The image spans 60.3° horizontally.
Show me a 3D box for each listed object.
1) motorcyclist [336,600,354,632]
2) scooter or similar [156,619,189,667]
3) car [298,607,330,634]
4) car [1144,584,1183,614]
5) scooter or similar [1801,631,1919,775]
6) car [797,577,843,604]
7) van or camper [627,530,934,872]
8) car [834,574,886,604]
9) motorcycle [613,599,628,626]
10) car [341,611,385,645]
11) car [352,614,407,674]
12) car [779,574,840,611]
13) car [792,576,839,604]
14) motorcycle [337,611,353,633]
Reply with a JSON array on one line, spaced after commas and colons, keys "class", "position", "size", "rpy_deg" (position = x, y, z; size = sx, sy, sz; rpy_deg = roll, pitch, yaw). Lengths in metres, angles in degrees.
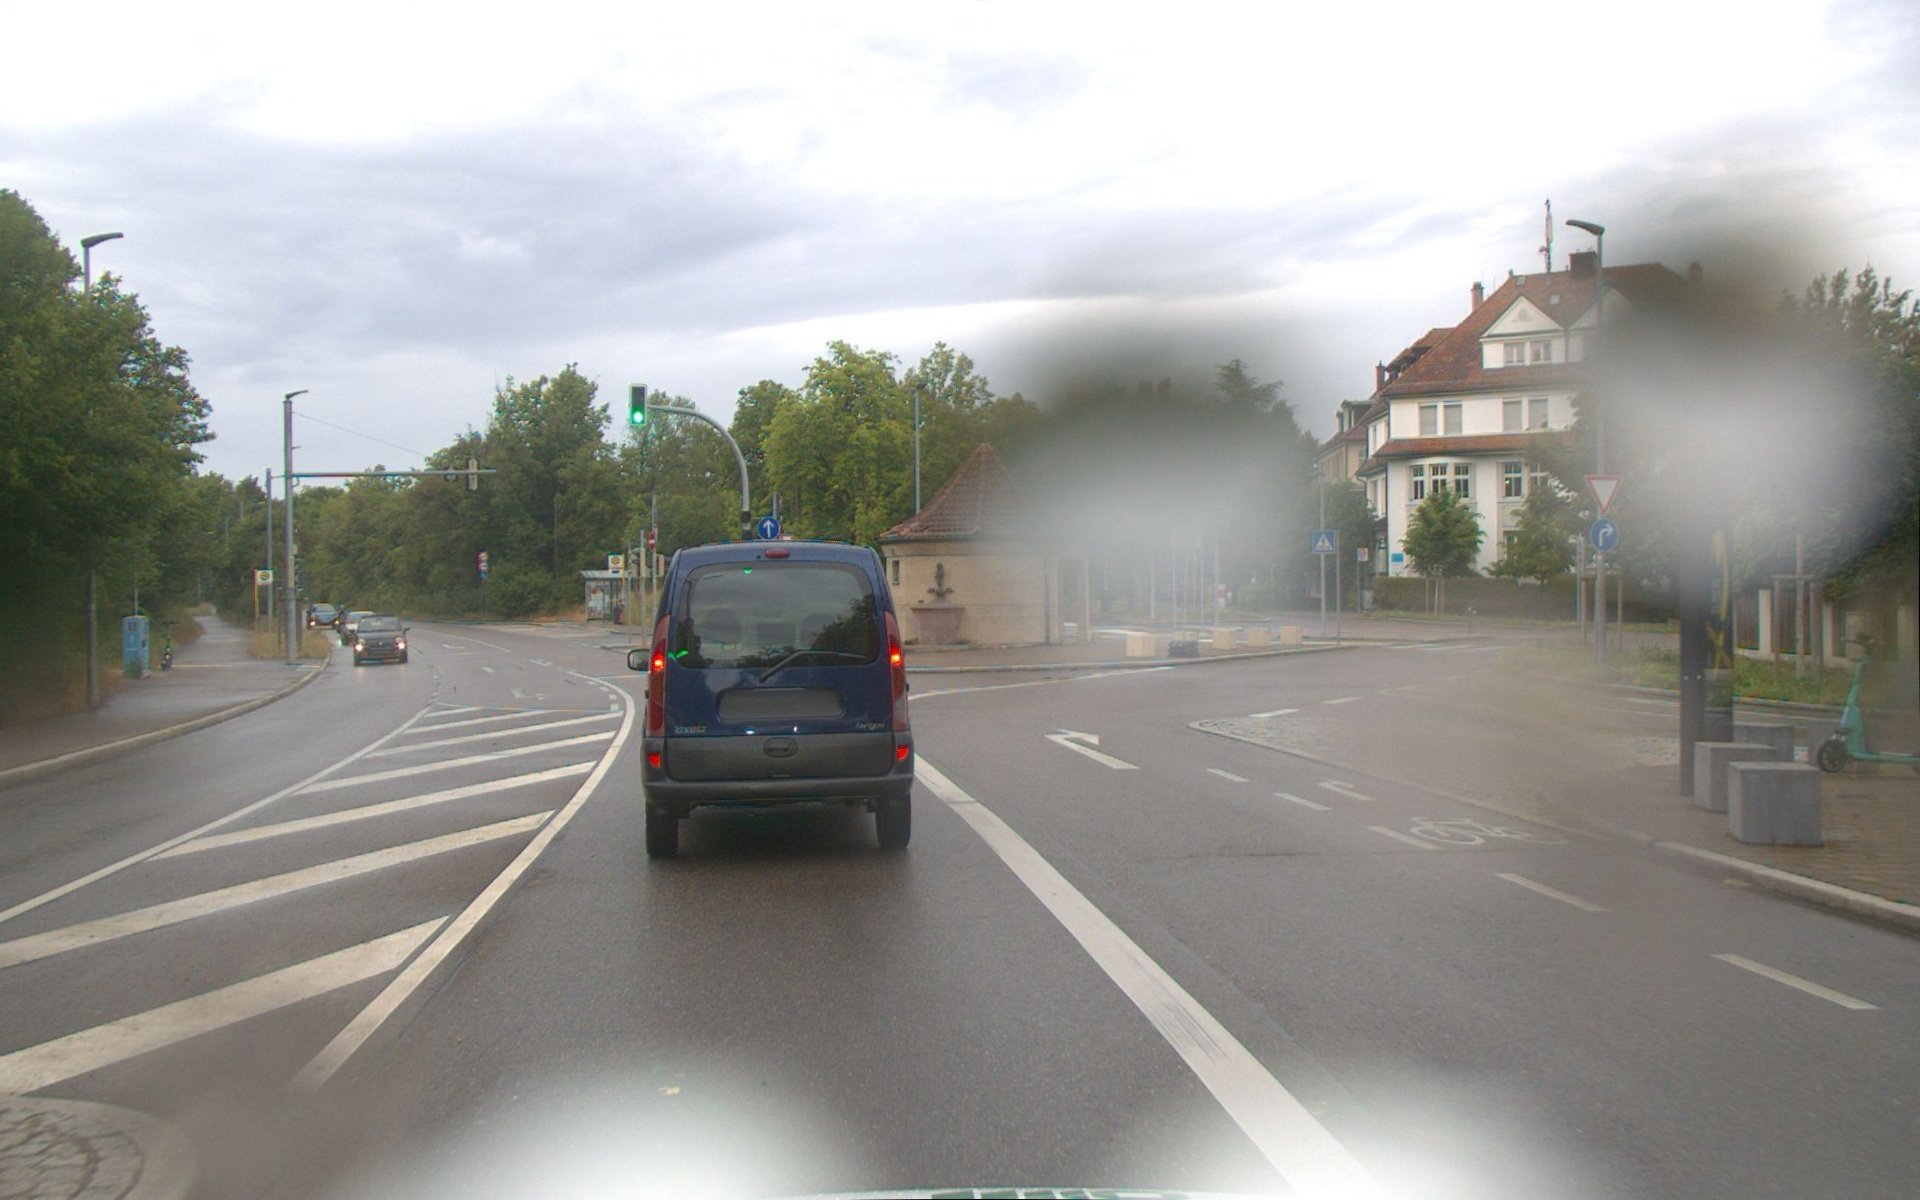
[{"class": "motorcyclist", "position": [-32.273, 0.850, 86.749], "size": [0.737, 1.660, 0.919], "rpy_deg": [-2, 0, -26]}, {"class": "scooter or similar", "position": [-20.976, 1.124, 44.081], "size": [0.508, 1.233, 1.463], "rpy_deg": [-1, 0, -14]}, {"class": "car", "position": [-40.796, 1.256, 104.462], "size": [1.763, 1.609, 4.533], "rpy_deg": [-2, 1, -21]}, {"class": "car", "position": [14.355, -0.069, 116.737], "size": [1.954, 2.049, 3.996], "rpy_deg": [0, 0, -5]}, {"class": "scooter or similar", "position": [8.250, 0.912, 14.669], "size": [1.322, 1.228, 0.524], "rpy_deg": [2, -1, -6]}, {"class": "car", "position": [-8.286, -0.548, 97.521], "size": [1.856, 1.506, 4.048], "rpy_deg": [-1, -1, -17]}, {"class": "van or camper", "position": [-1.292, 0.548, 11.124], "size": [1.681, 1.858, 3.991], "rpy_deg": [0, 0, -9]}, {"class": "car", "position": [-5.312, -0.551, 87.343], "size": [1.855, 1.506, 4.050], "rpy_deg": [1, -1, -16]}, {"class": "motorcycle", "position": [-17.042, 0.616, 83.020], "size": [0.578, 1.311, 1.535], "rpy_deg": [-2, 0, -8]}, {"class": "car", "position": [-26.597, 1.222, 73.665], "size": [1.716, 1.375, 4.184], "rpy_deg": [-3, 1, -20]}, {"class": "car", "position": [-18.542, 1.363, 52.816], "size": [1.553, 1.761, 3.752], "rpy_deg": [-2, 0, -20]}, {"class": "car", "position": [-7.364, -0.354, 80.578], "size": [1.965, 1.691, 3.975], "rpy_deg": [2, 0, -21]}, {"class": "car", "position": [-9.008, -0.622, 102.491], "size": [1.962, 1.691, 4.450], "rpy_deg": [2, 0, -18]}, {"class": "motorcycle", "position": [-32.264, 1.145, 86.737], "size": [0.586, 1.069, 1.982], "rpy_deg": [-2, 1, -25]}]
